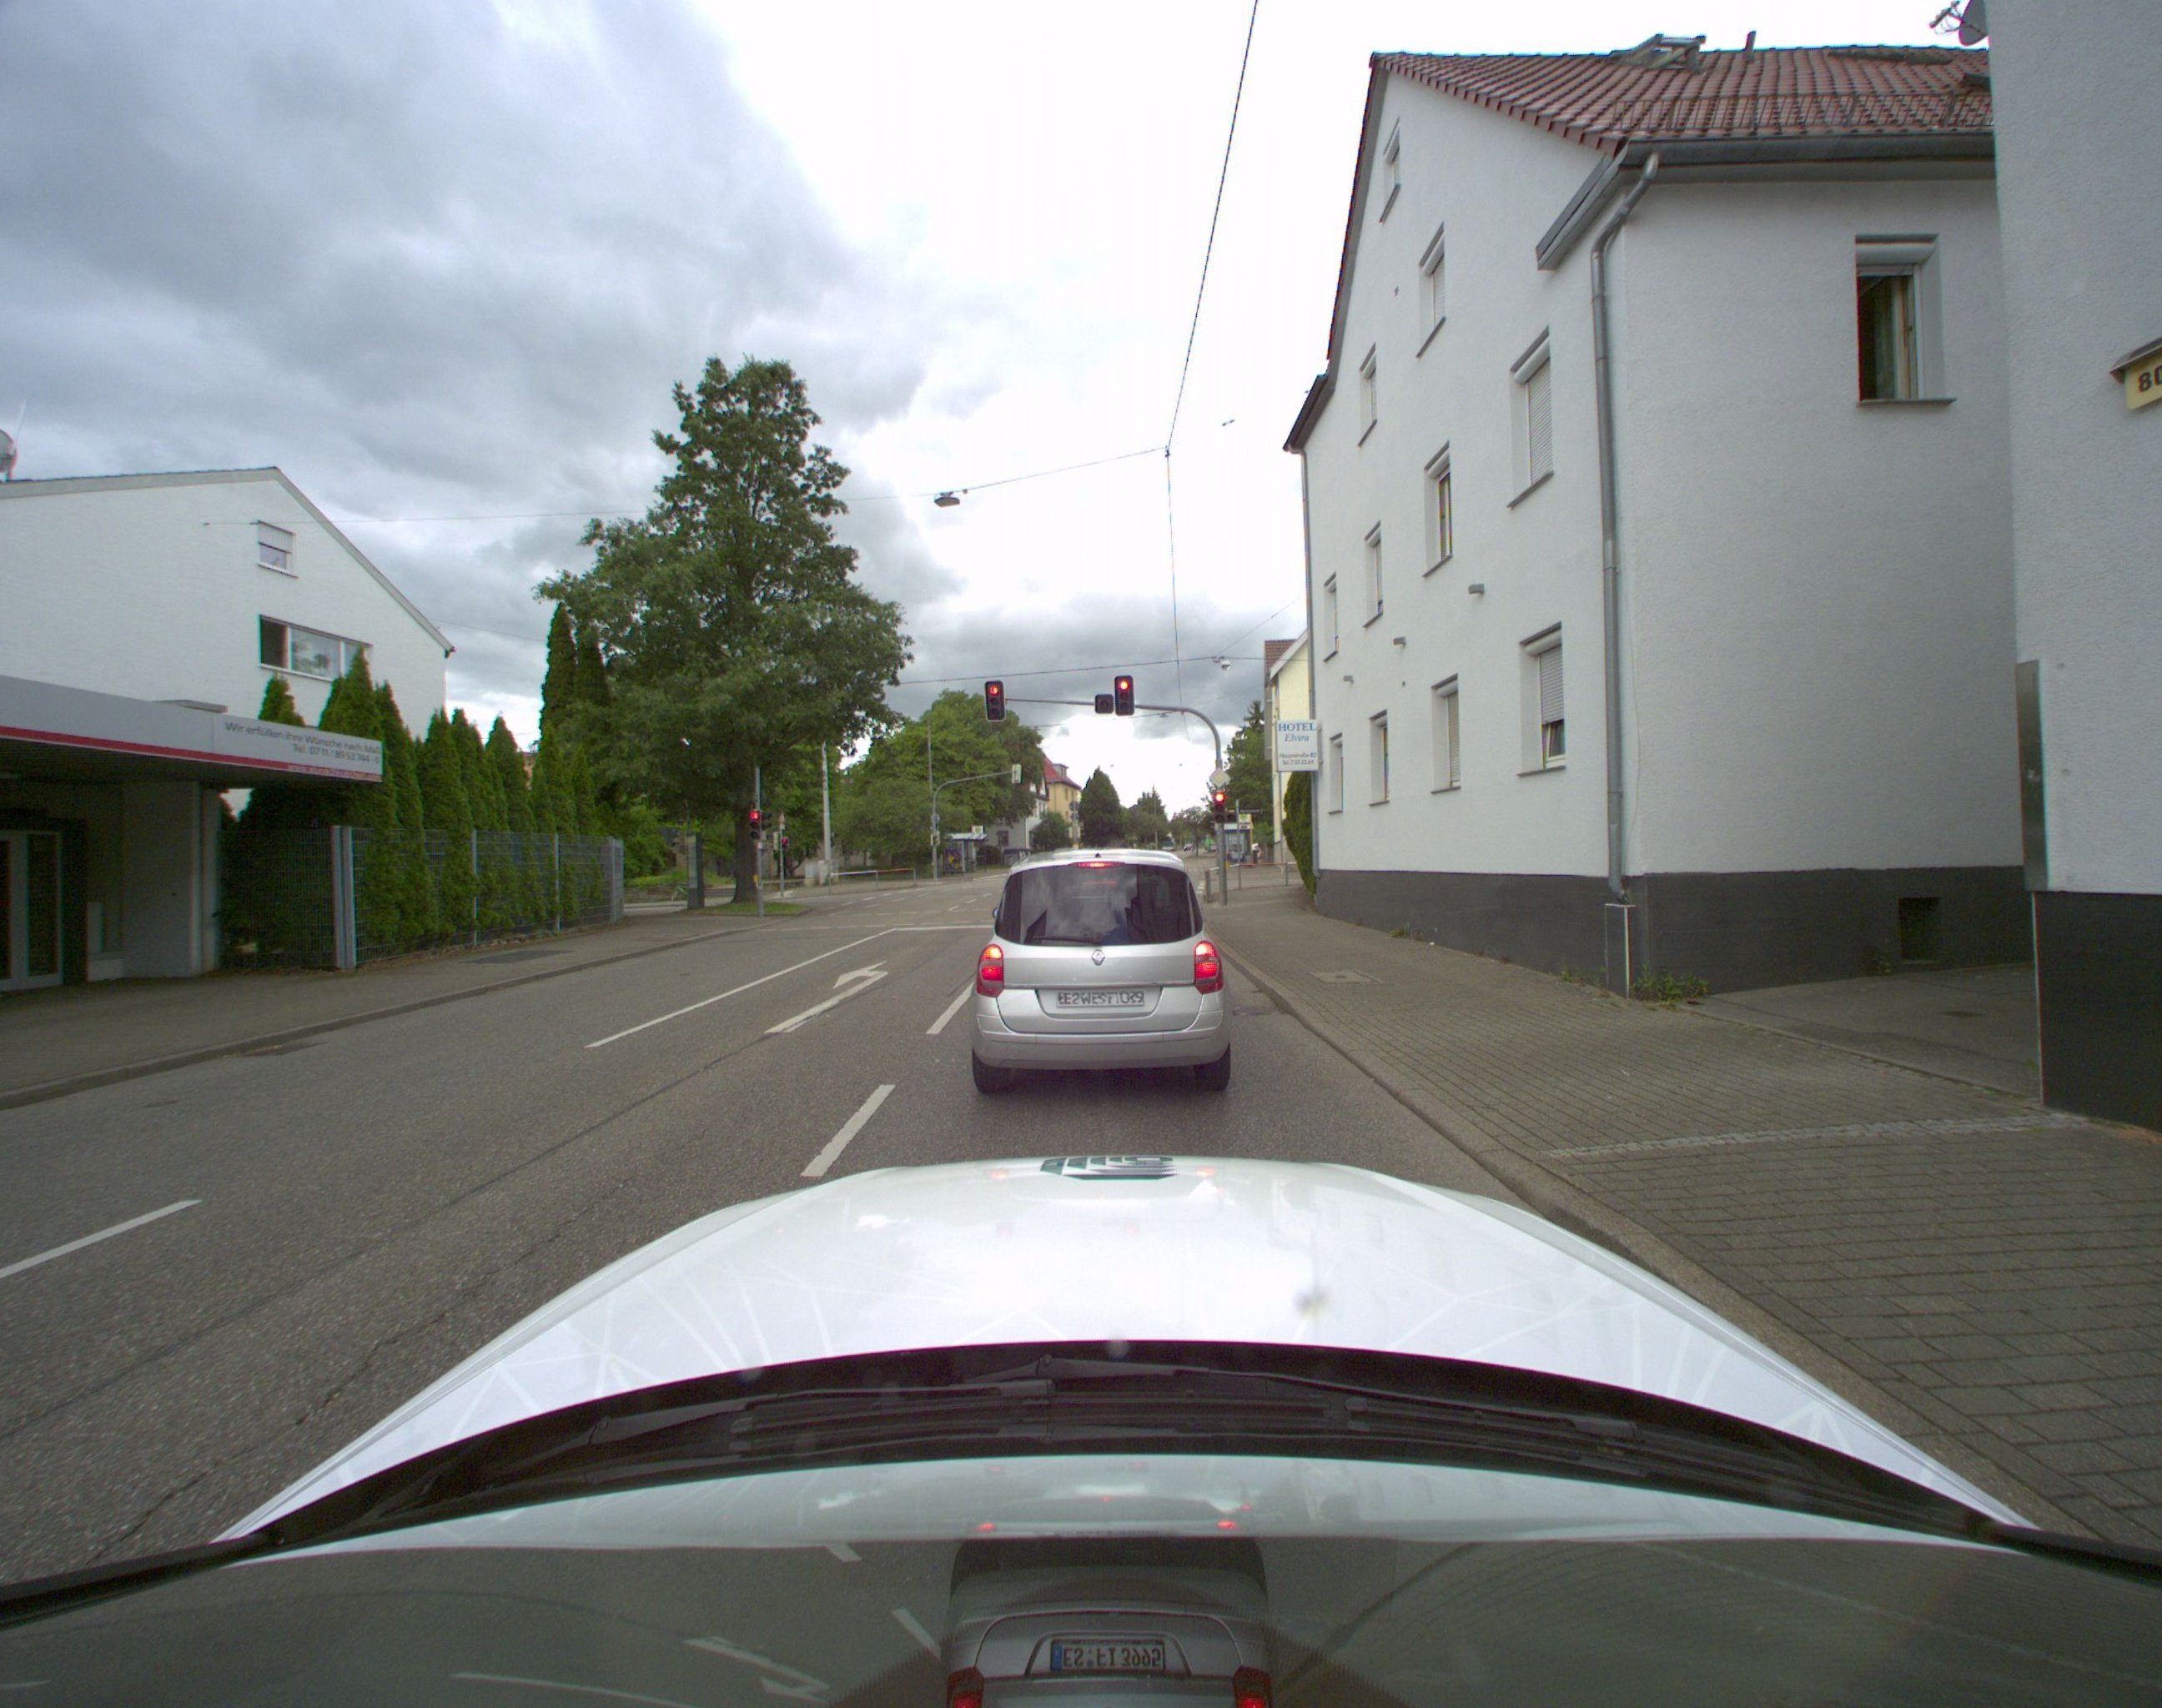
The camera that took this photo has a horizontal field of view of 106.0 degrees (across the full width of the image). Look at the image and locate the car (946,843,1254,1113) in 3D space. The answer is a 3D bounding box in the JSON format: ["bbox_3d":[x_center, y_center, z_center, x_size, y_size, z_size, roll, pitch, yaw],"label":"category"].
[{"bbox_3d":[0.159,0.718,6.688,1.748,1.530,4.001,-1,0,1],"label":"car"}]

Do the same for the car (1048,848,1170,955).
[{"bbox_3d":[0.458,0.691,13.743,1.748,1.530,3.798,-1,0,1],"label":"car"}]

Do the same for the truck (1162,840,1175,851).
[{"bbox_3d":[17.885,-1.735,166.362,2.088,2.013,5.766,-1,0,11],"label":"truck"}]

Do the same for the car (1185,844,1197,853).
[{"bbox_3d":[21.445,-1.066,158.430,1.844,1.748,4.015,-1,0,13],"label":"car"}]

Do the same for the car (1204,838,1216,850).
[{"bbox_3d":[27.597,-2.120,174.365,2.044,2.512,5.616,-1,0,14],"label":"car"}]

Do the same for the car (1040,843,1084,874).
[{"bbox_3d":[-1.224,0.264,54.382,1.913,1.773,4.013,-6,-1,12],"label":"car"}]

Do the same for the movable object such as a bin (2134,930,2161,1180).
[{"bbox_3d":[4.330,0.747,2.869,0.538,0.941,0.487,-4,-1,2],"label":"movable object such as a bin"}]
